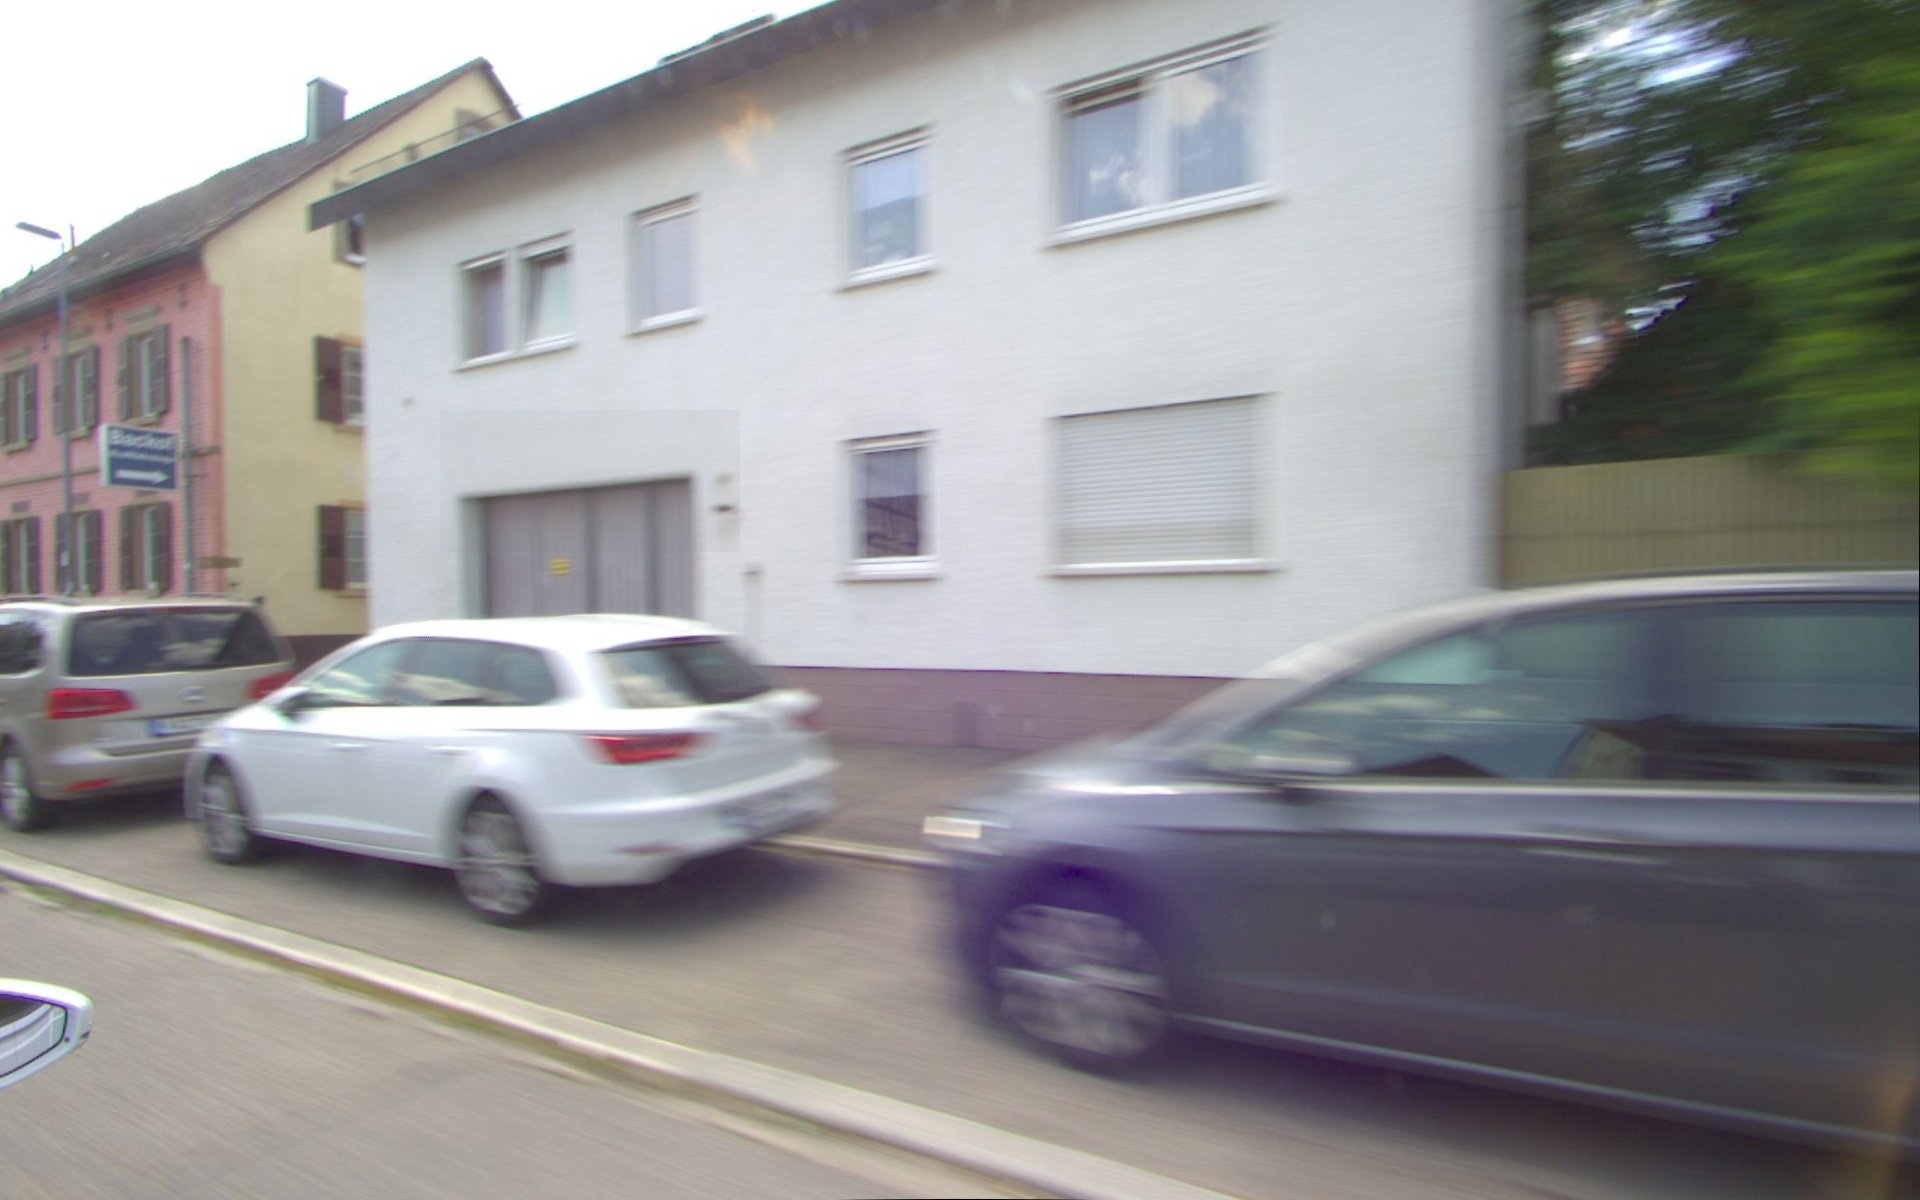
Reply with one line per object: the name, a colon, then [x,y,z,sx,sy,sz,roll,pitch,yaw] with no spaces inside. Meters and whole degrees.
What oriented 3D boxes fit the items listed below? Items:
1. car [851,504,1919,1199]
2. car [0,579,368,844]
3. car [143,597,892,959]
car: [1.834,0.634,3.219,4.209,1.646,1.660,-1,0,31]
car: [-7.125,0.750,8.420,4.261,1.702,1.990,-1,0,32]
car: [-2.769,0.790,6.154,4.303,1.537,1.992,-1,0,28]
